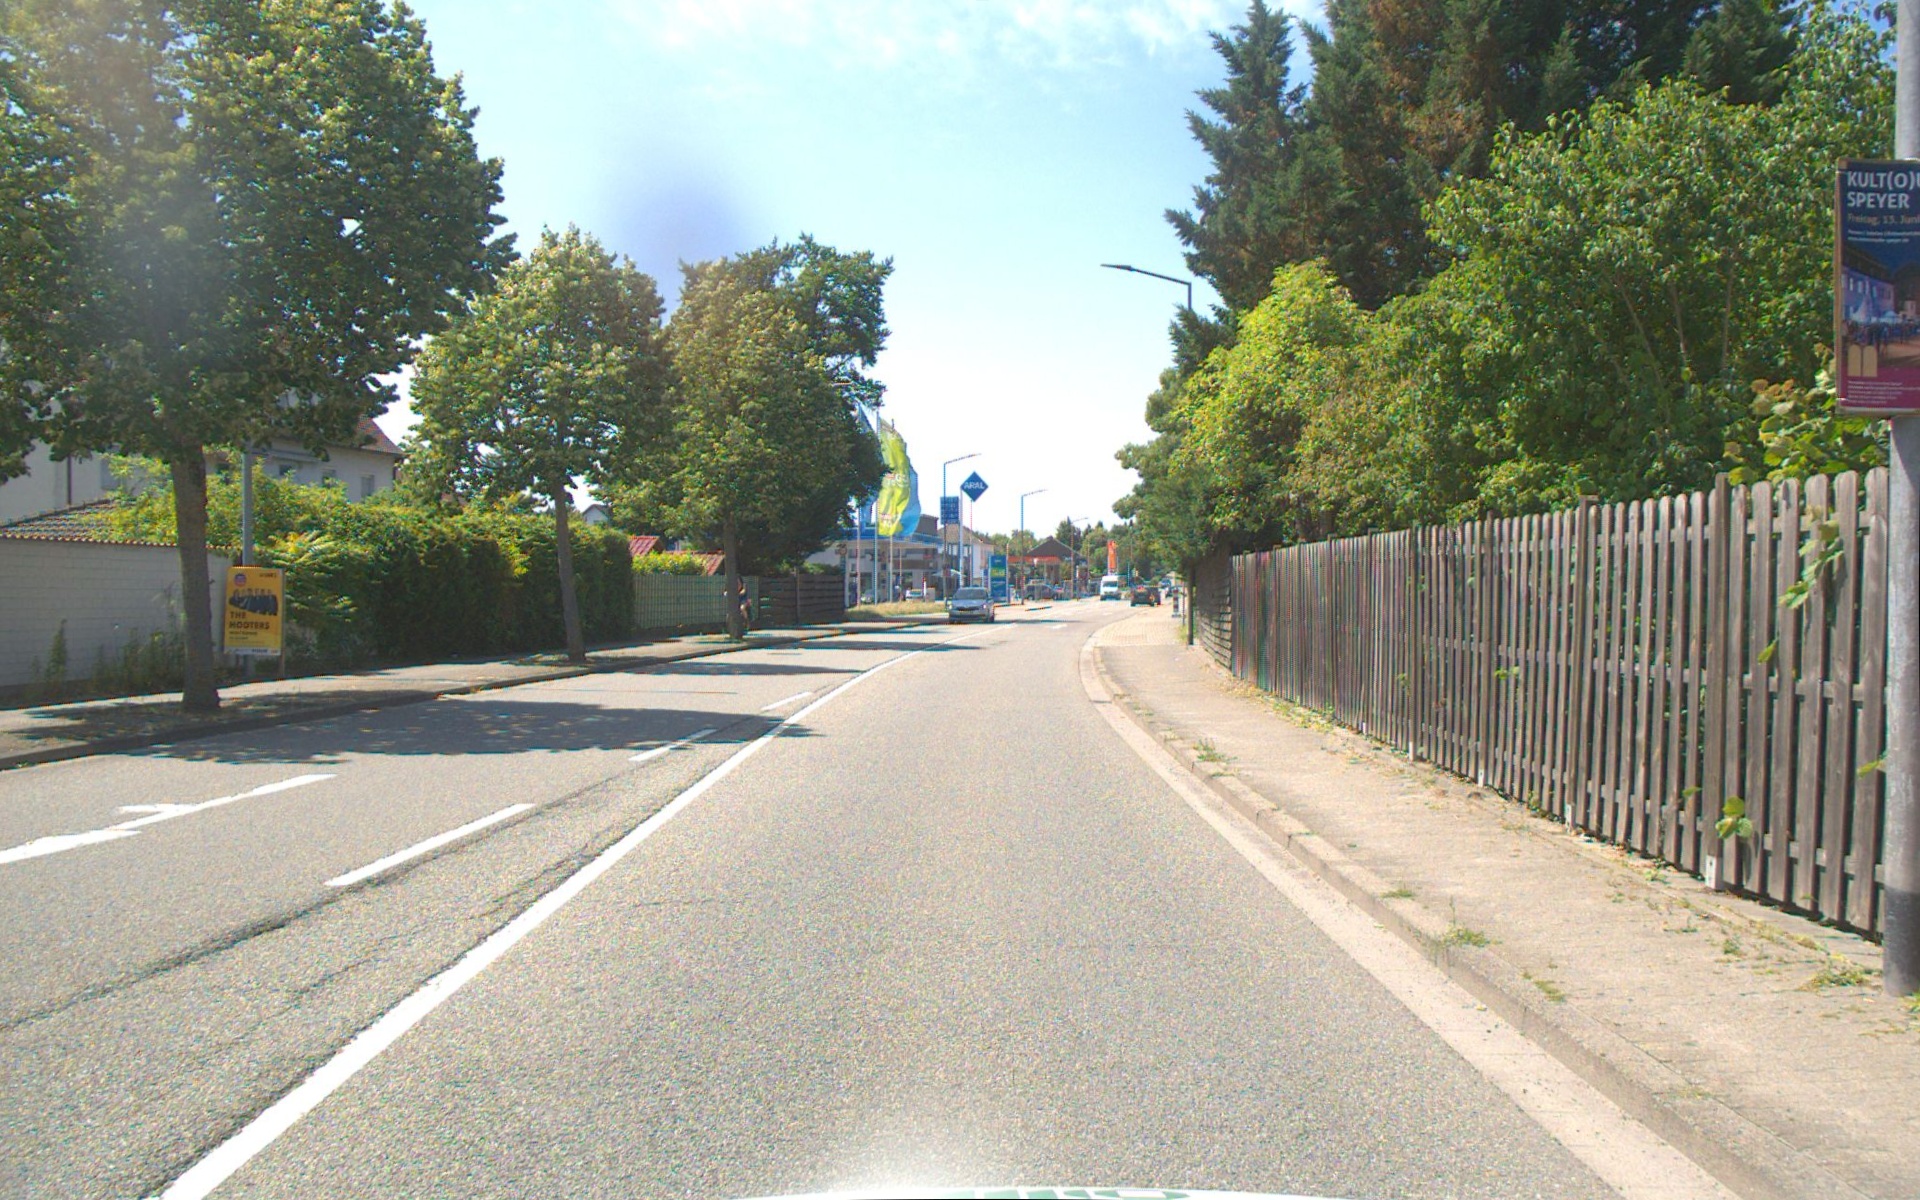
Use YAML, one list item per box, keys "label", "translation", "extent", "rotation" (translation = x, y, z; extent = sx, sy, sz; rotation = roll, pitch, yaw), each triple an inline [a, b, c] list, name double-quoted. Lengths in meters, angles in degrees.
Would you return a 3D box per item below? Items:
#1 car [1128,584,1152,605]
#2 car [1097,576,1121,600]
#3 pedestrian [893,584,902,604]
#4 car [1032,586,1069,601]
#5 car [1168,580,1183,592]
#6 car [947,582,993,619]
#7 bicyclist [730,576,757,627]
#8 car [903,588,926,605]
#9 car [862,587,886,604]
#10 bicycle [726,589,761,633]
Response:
- label: "car"
  translation: [13.513, -0.424, 124.291]
  extent: [1.630, 1.481, 3.475]
  rotation: [0, 1, 9]
- label: "car"
  translation: [16.163, -1.276, 179.565]
  extent: [1.951, 2.465, 5.952]
  rotation: [1, -1, 11]
- label: "pedestrian"
  translation: [-5.583, -0.526, 148.078]
  extent: [0.601, 1.720, 0.705]
  rotation: [-1, 0, -17]
- label: "car"
  translation: [9.599, -0.668, 175.543]
  extent: [3.902, 1.534, 1.556]
  rotation: [0, 0, 5]
- label: "car"
  translation: [26.023, -1.668, 199.665]
  extent: [1.630, 1.481, 3.475]
  rotation: [0, 1, 9]
- label: "car"
  translation: [0.442, 0.008, 68.617]
  extent: [1.578, 1.508, 3.710]
  rotation: [0, 1, 5]
- label: "bicyclist"
  translation: [-6.138, 0.047, 46.859]
  extent: [0.615, 1.433, 0.677]
  rotation: [-1, 0, 4]
- label: "car"
  translation: [-4.000, -0.319, 146.671]
  extent: [1.583, 1.445, 3.714]
  rotation: [-2, 0, 5]
- label: "car"
  translation: [-7.599, -0.396, 146.784]
  extent: [1.583, 1.445, 3.714]
  rotation: [-2, 0, 5]
- label: "bicycle"
  translation: [-6.131, 0.303, 46.907]
  extent: [0.619, 1.200, 1.817]
  rotation: [-1, 1, 5]
